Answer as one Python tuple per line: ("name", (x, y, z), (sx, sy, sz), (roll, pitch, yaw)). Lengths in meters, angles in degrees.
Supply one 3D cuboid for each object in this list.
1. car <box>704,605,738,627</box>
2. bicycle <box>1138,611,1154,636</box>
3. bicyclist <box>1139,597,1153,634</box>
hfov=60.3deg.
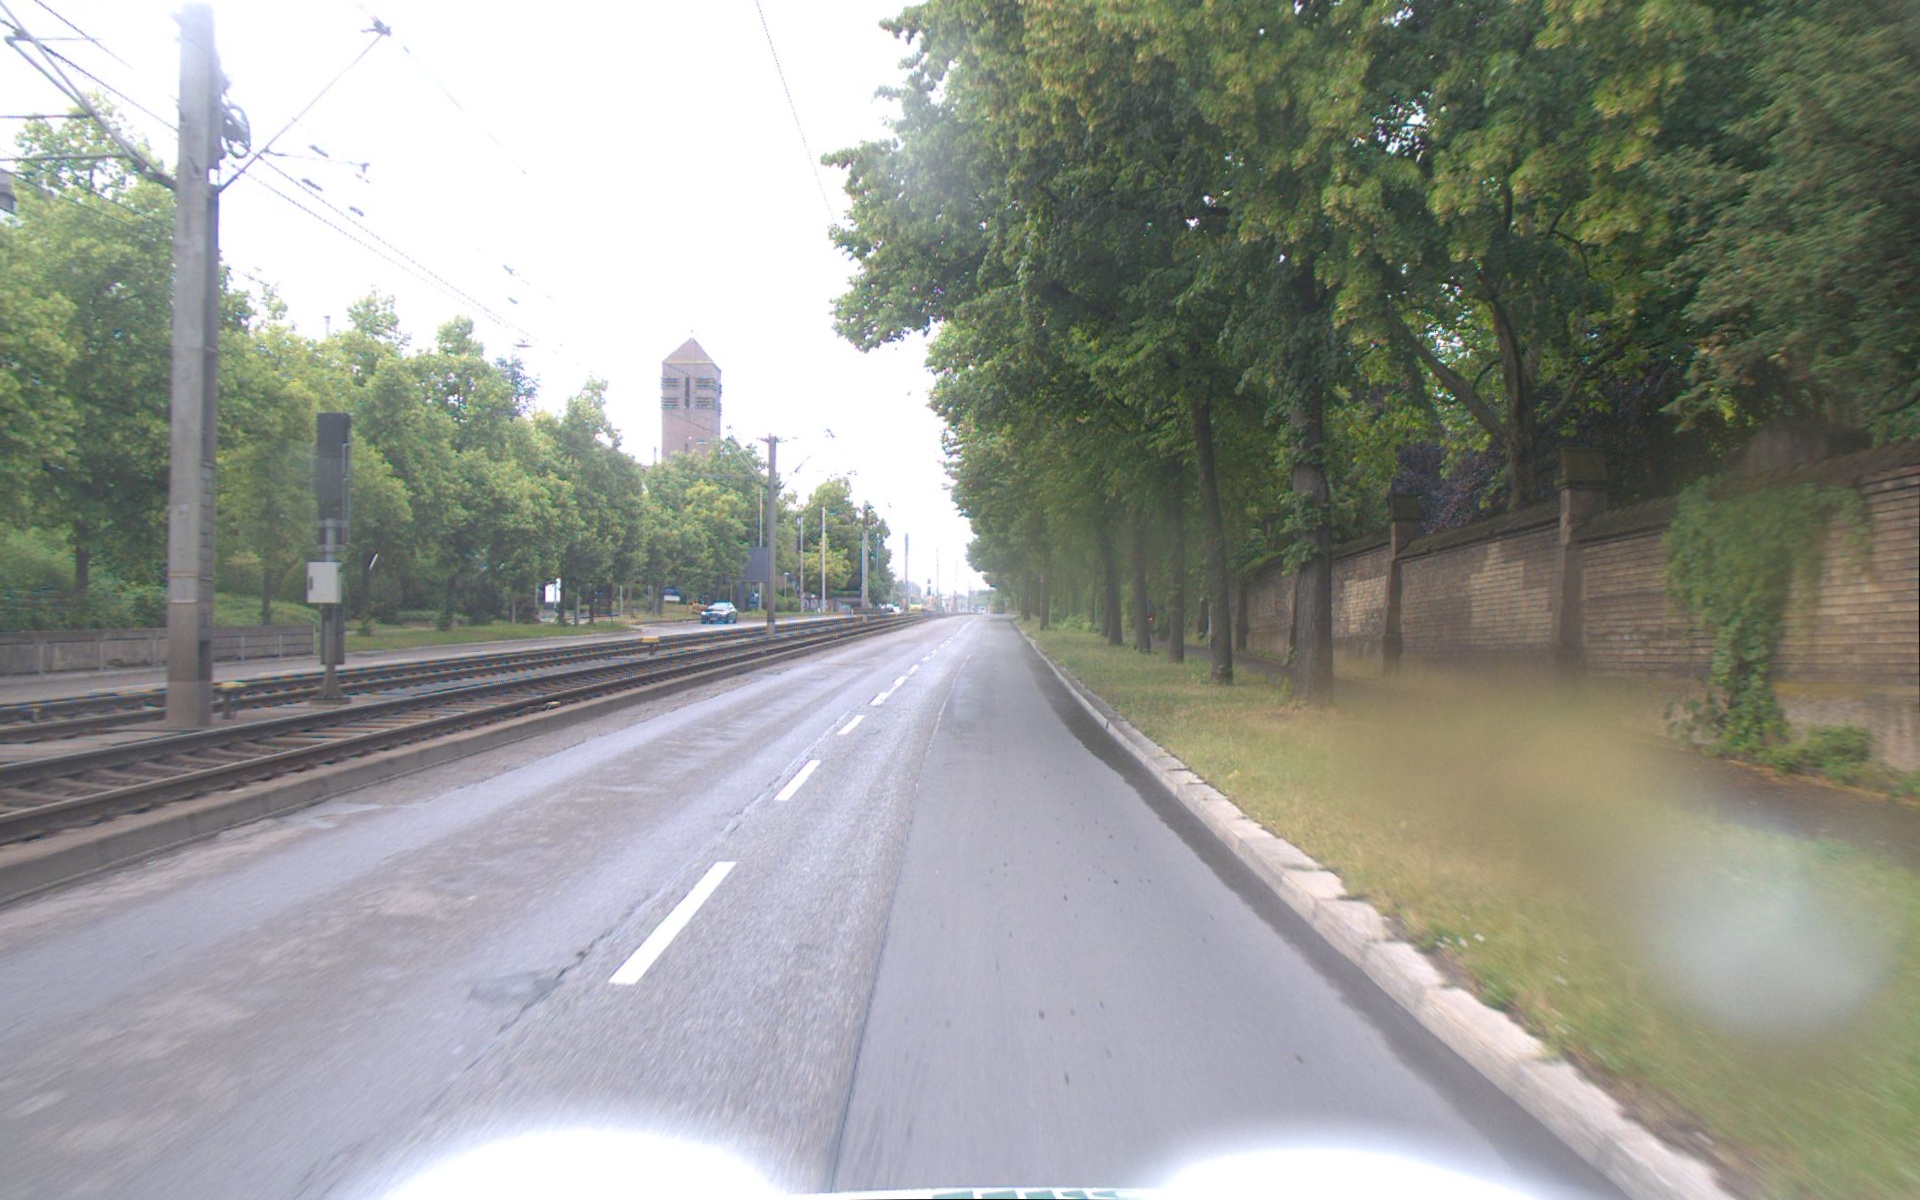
("car", (-16.749, 1.109, 116.019), (1.758, 1.557, 4.621), (0, 0, 0))
("bicycle", (7.176, 0.902, 63.807), (0.531, 0.964, 2.550), (0, 0, 4))
("bicyclist", (7.176, 0.595, 63.782), (0.523, 1.414, 0.666), (0, -1, 4))
